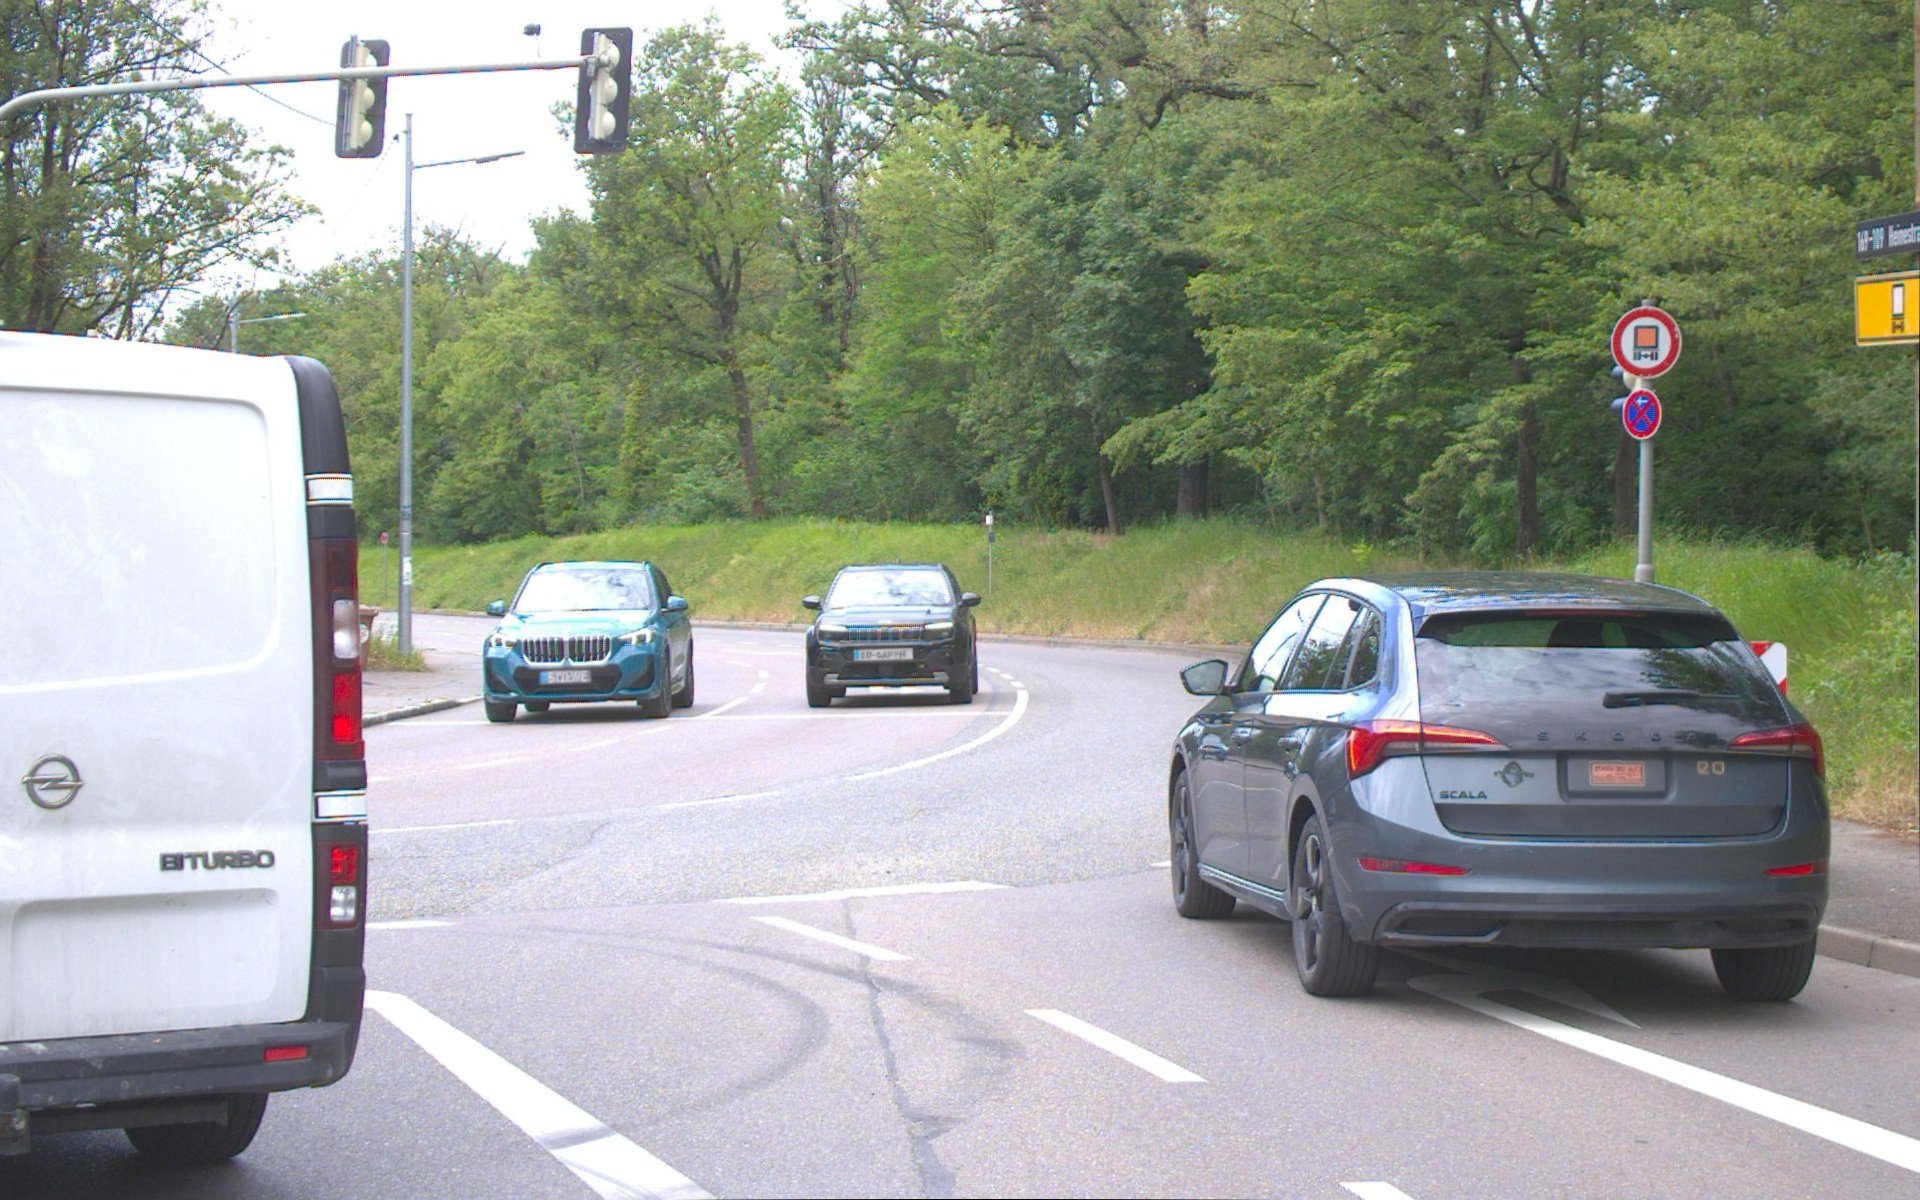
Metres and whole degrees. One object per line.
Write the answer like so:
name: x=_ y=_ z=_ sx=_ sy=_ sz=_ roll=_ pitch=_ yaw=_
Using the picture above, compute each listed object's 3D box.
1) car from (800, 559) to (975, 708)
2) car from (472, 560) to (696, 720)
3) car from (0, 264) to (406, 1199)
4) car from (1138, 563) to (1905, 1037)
car: x=-0.833 y=0.327 z=38.236 sx=1.815 sy=1.501 sz=4.001 roll=-1 pitch=1 yaw=-2
car: x=-3.850 y=0.370 z=35.826 sx=1.857 sy=1.501 sz=4.000 roll=-1 pitch=1 yaw=0
car: x=-3.301 y=0.290 z=8.843 sx=1.917 sy=2.046 sz=4.614 roll=0 pitch=1 yaw=-34
car: x=1.886 y=0.619 z=12.839 sx=1.792 sy=1.445 sz=4.001 roll=1 pitch=1 yaw=-6
